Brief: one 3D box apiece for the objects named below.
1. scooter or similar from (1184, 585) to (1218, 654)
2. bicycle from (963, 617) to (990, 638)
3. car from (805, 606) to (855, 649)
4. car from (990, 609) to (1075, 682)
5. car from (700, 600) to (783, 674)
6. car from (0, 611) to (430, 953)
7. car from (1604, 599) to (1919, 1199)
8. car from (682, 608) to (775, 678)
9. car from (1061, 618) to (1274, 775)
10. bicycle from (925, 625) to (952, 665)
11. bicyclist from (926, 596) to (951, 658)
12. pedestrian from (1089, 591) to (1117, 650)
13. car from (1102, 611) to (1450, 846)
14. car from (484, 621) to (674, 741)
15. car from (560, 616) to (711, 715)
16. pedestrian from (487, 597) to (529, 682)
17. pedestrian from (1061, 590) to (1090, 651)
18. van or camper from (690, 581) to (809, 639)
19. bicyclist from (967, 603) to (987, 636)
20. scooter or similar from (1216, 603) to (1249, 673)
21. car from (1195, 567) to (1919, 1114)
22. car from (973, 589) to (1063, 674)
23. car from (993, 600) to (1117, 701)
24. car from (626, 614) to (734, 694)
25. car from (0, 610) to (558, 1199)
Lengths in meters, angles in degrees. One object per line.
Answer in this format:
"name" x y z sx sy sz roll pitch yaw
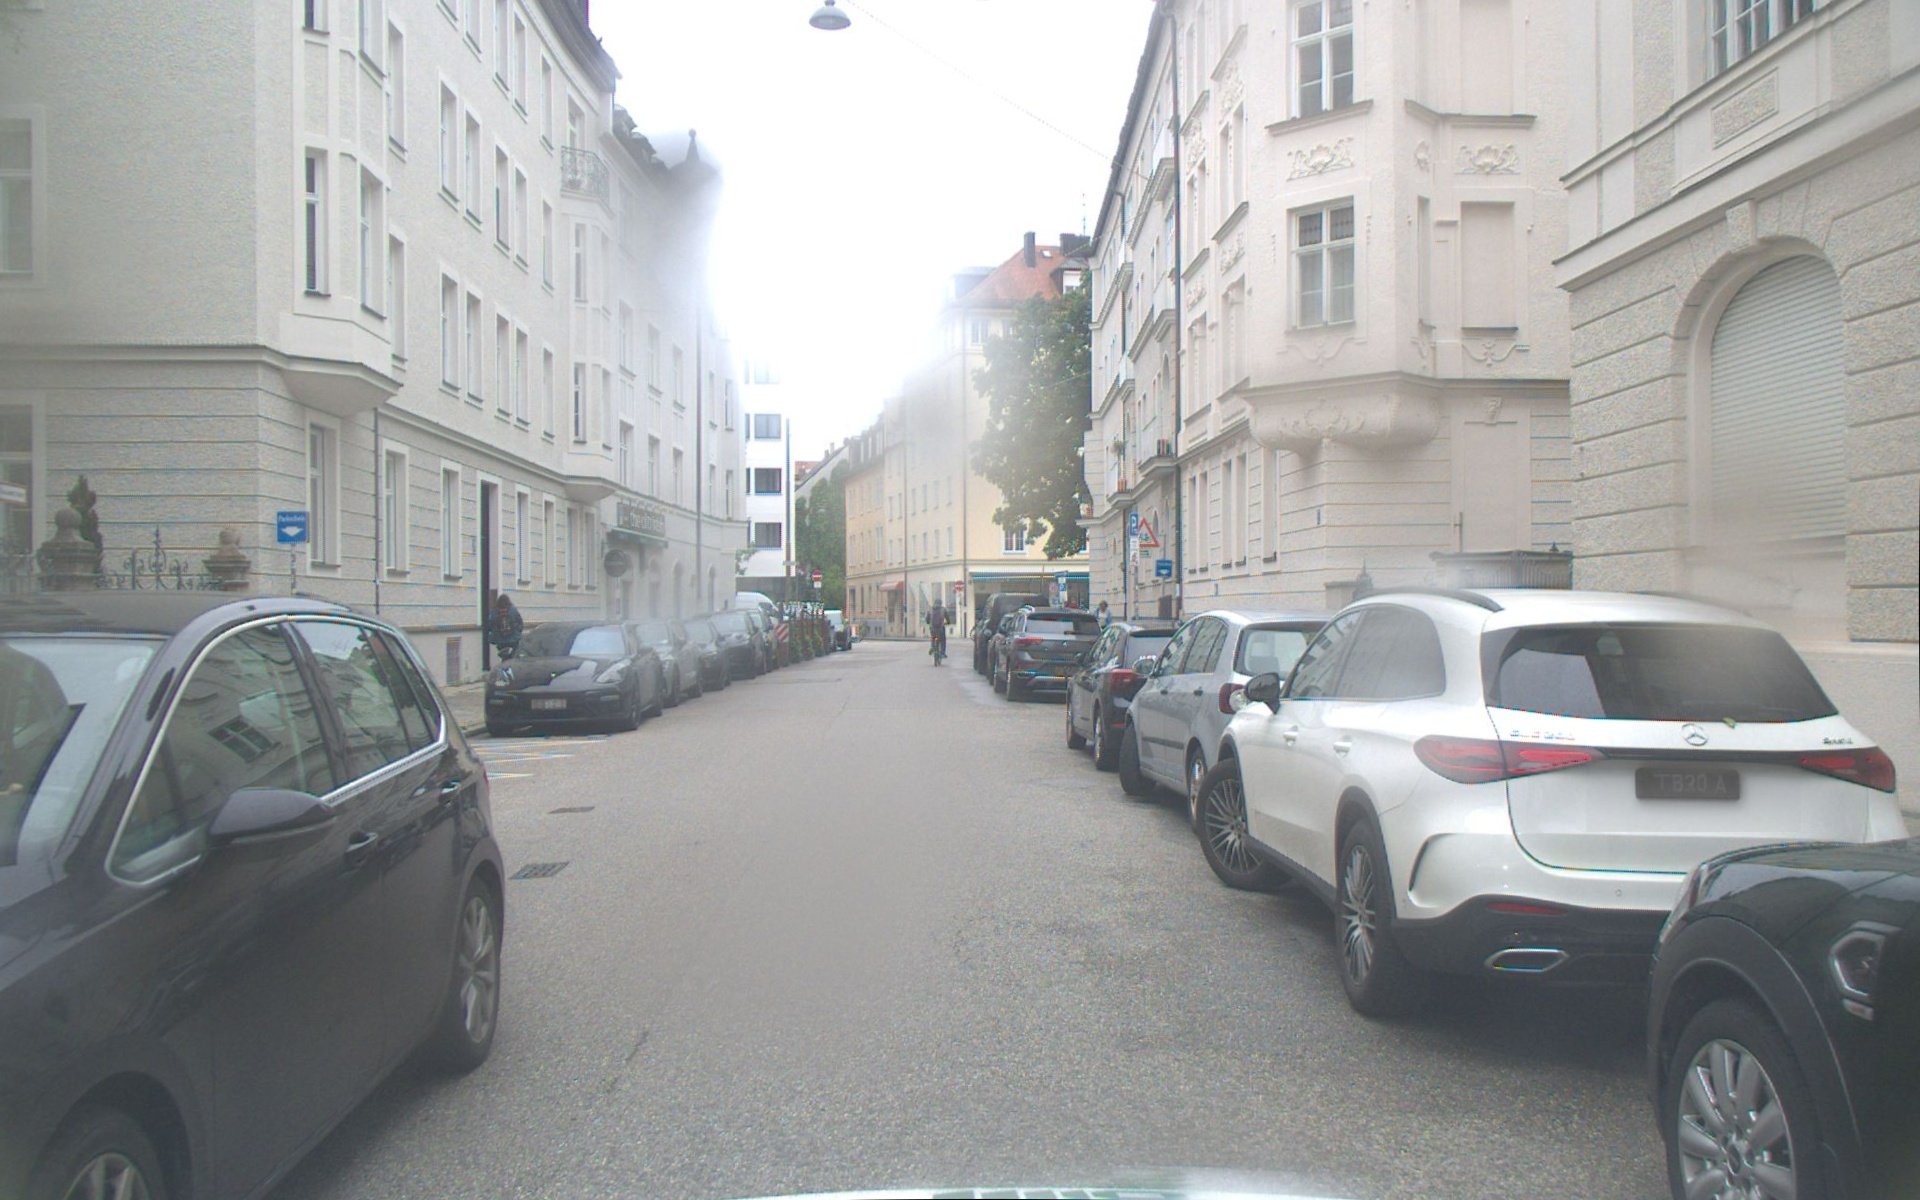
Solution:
"scooter or similar" 4.738 0.375 32.599 0.529 1.310 1.504 -3 0 6
"bicycle" 0.822 1.409 84.421 0.833 1.019 2.160 -1 0 -15
"car" -5.263 1.114 67.507 1.642 1.624 3.945 -3 -1 0
"car" 1.463 0.910 34.561 1.629 1.420 3.581 1 0 0
"car" -5.697 0.922 43.529 1.711 1.702 4.273 -4 0 -3
"car" -4.794 0.951 10.342 1.662 1.608 4.060 -3 0 -2
"car" 2.603 0.773 2.256 1.713 1.551 4.169 -1 0 -2
"car" -5.353 0.961 38.711 1.707 1.513 4.179 -1 0 -2
"car" 2.071 0.928 17.499 1.580 1.419 3.998 0 0 -3
"bicycle" -0.564 1.201 44.750 0.626 1.022 1.574 -1 0 2
"bicyclist" -0.576 0.721 44.764 0.593 1.635 0.758 -1 0 2
"pedestrian" 4.241 0.597 49.092 0.666 1.703 0.653 -3 0 -4
"car" 2.273 0.856 12.943 1.674 1.527 3.996 0 0 -5
"car" -5.132 1.034 22.868 1.813 1.391 4.698 -1 0 -4
"car" -5.486 1.064 28.498 1.759 1.444 4.509 -4 0 -2
"pedestrian" -9.396 0.814 34.399 0.684 1.737 0.665 -1 0 -4
"pedestrian" 3.384 0.605 48.571 0.689 1.758 0.703 -2 0 -4
"van or camper" -10.633 0.528 83.406 5.797 2.724 1.868 -1 -2 -10
"bicyclist" 0.840 1.010 84.352 0.768 1.666 0.972 -1 0 -16
"scooter or similar" 5.375 0.736 32.646 0.496 1.310 1.352 -3 0 6
"car" 2.326 0.716 7.354 1.857 1.665 4.390 -1 1 -1
"car" 1.371 0.731 40.580 1.872 1.918 4.712 1 0 -2
"car" 1.579 0.825 28.736 1.673 1.615 3.997 0 0 -4
"car" -5.645 1.048 33.815 1.775 1.409 4.438 -3 0 -5
"car" -2.283 0.857 3.900 1.690 1.560 4.084 -3 0 -2
